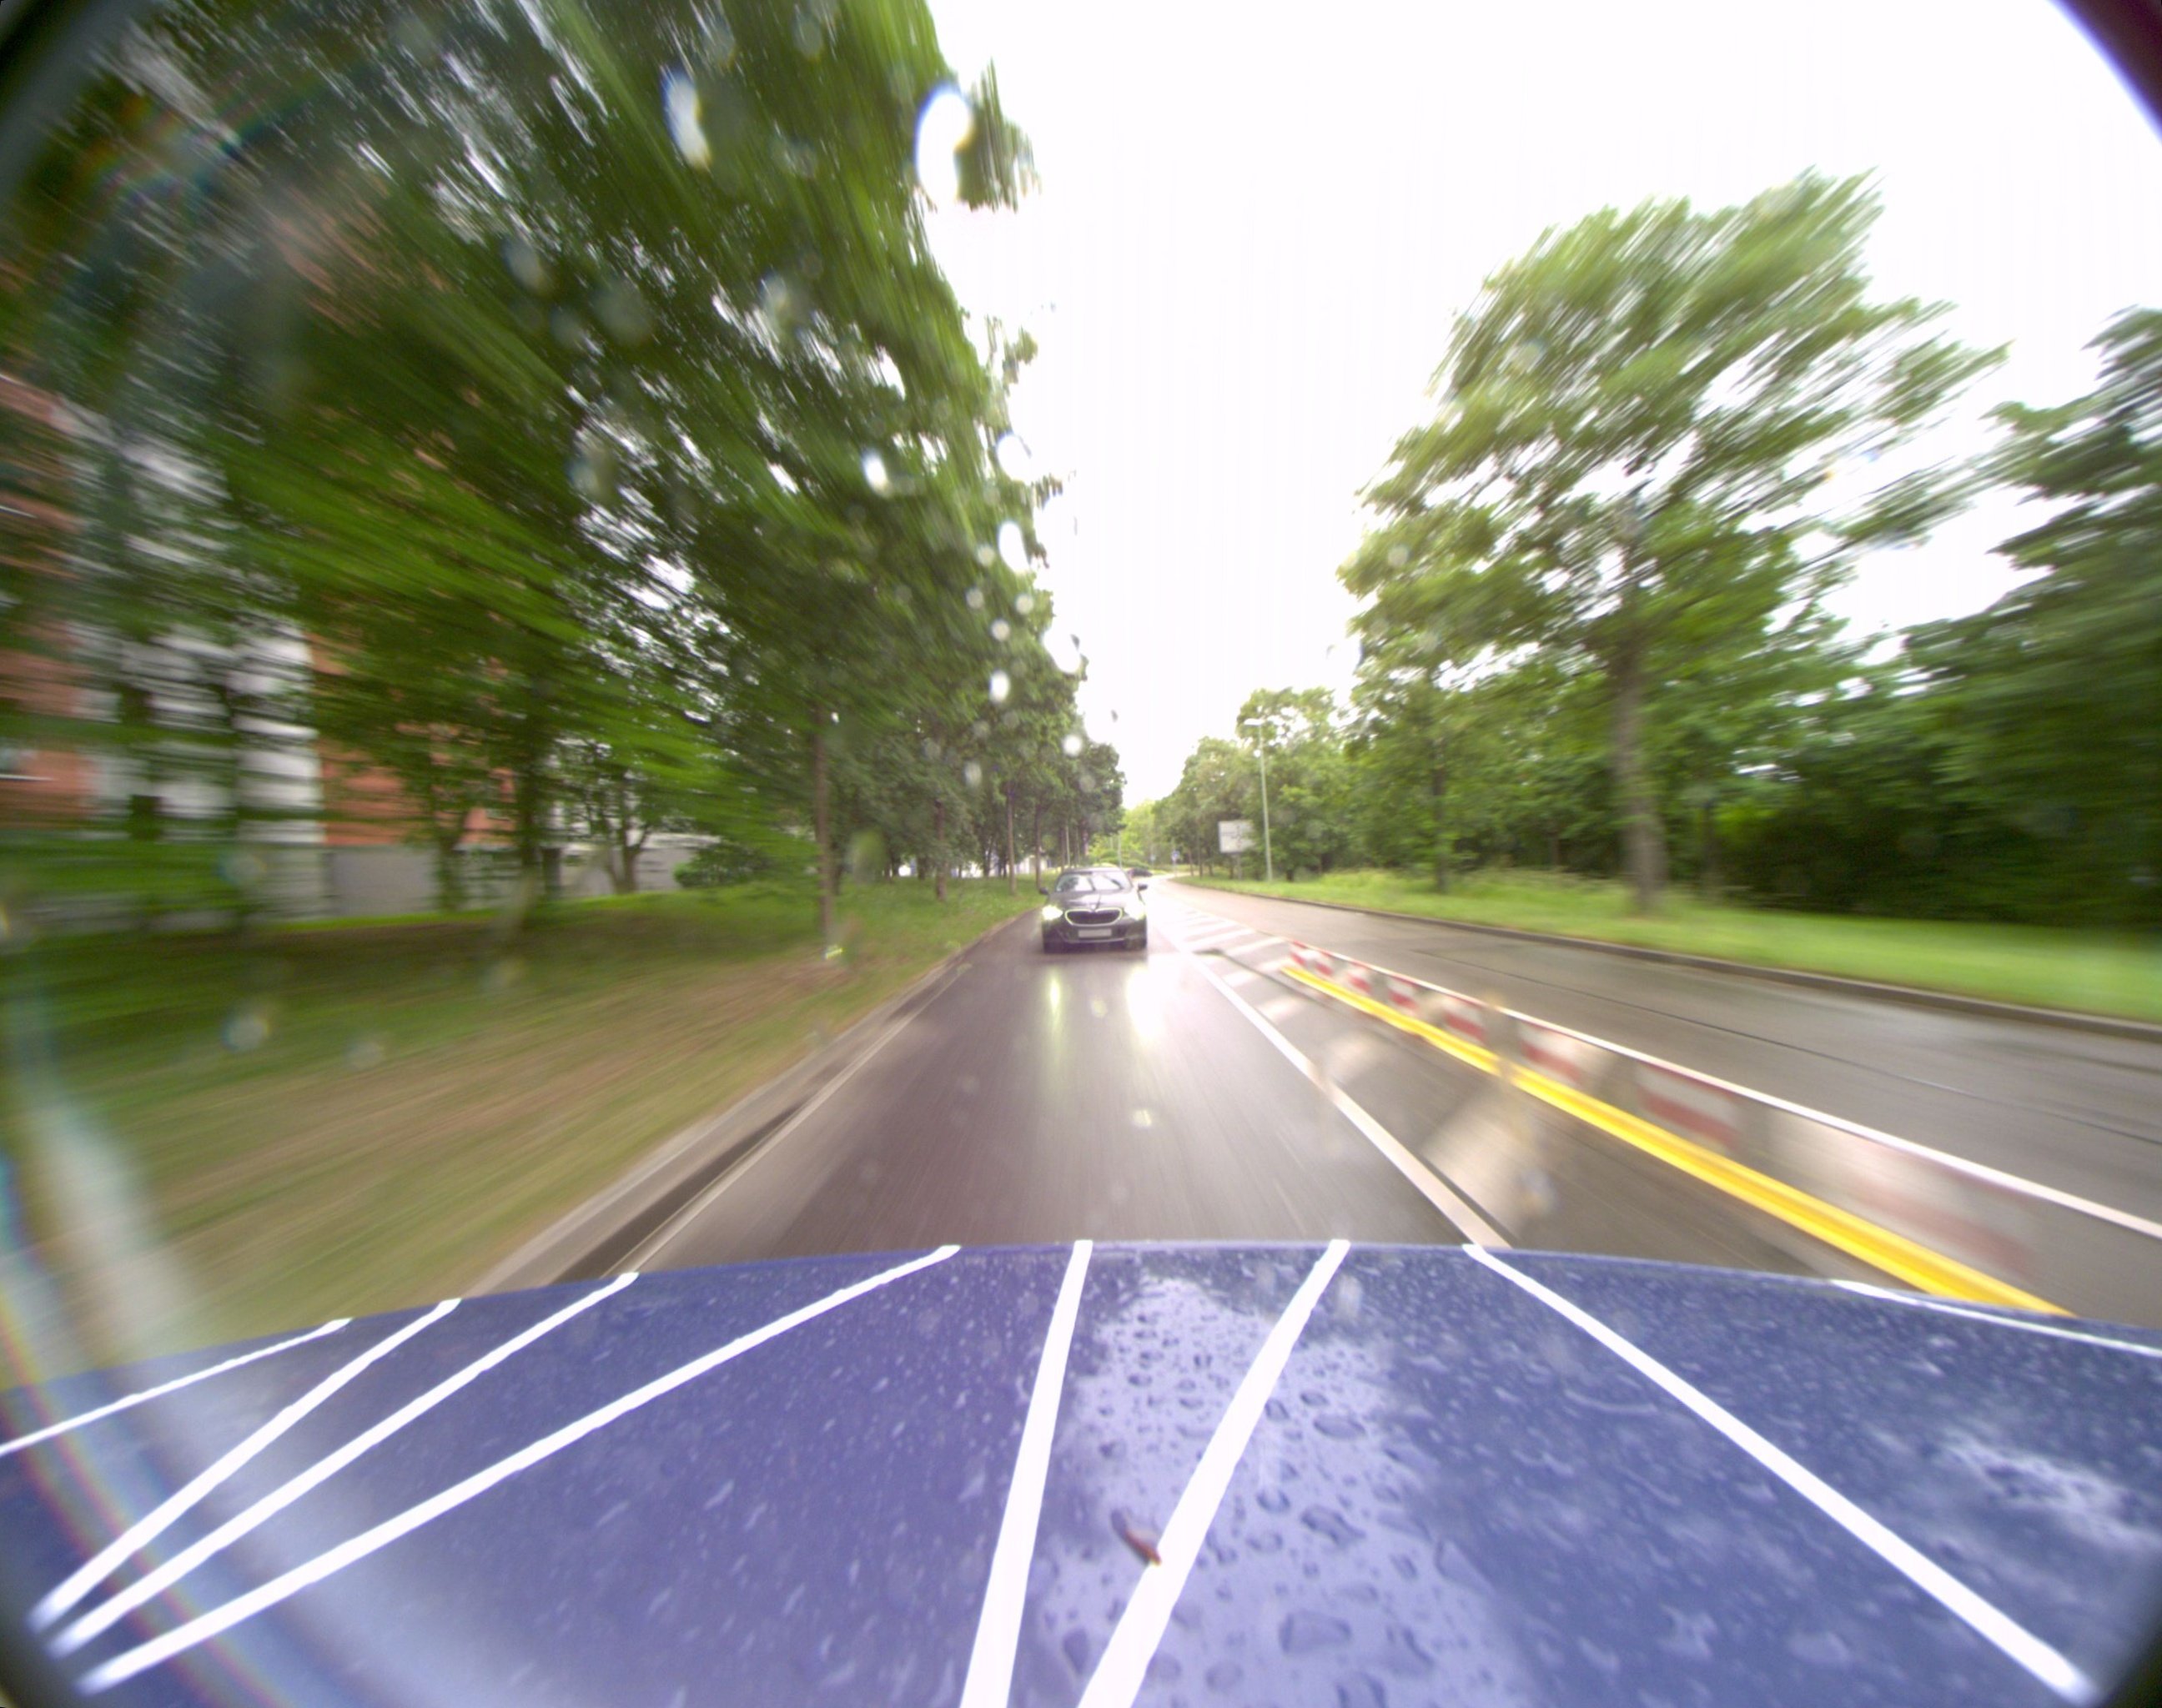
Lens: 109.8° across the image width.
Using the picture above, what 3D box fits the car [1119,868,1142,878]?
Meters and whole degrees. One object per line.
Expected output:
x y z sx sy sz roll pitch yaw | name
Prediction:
6.854 2.600 105.164 3.052 1.293 1.504 -2 -1 -2 | car

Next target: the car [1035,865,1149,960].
0.320 1.026 14.846 1.844 1.471 4.001 -3 0 4 | car
